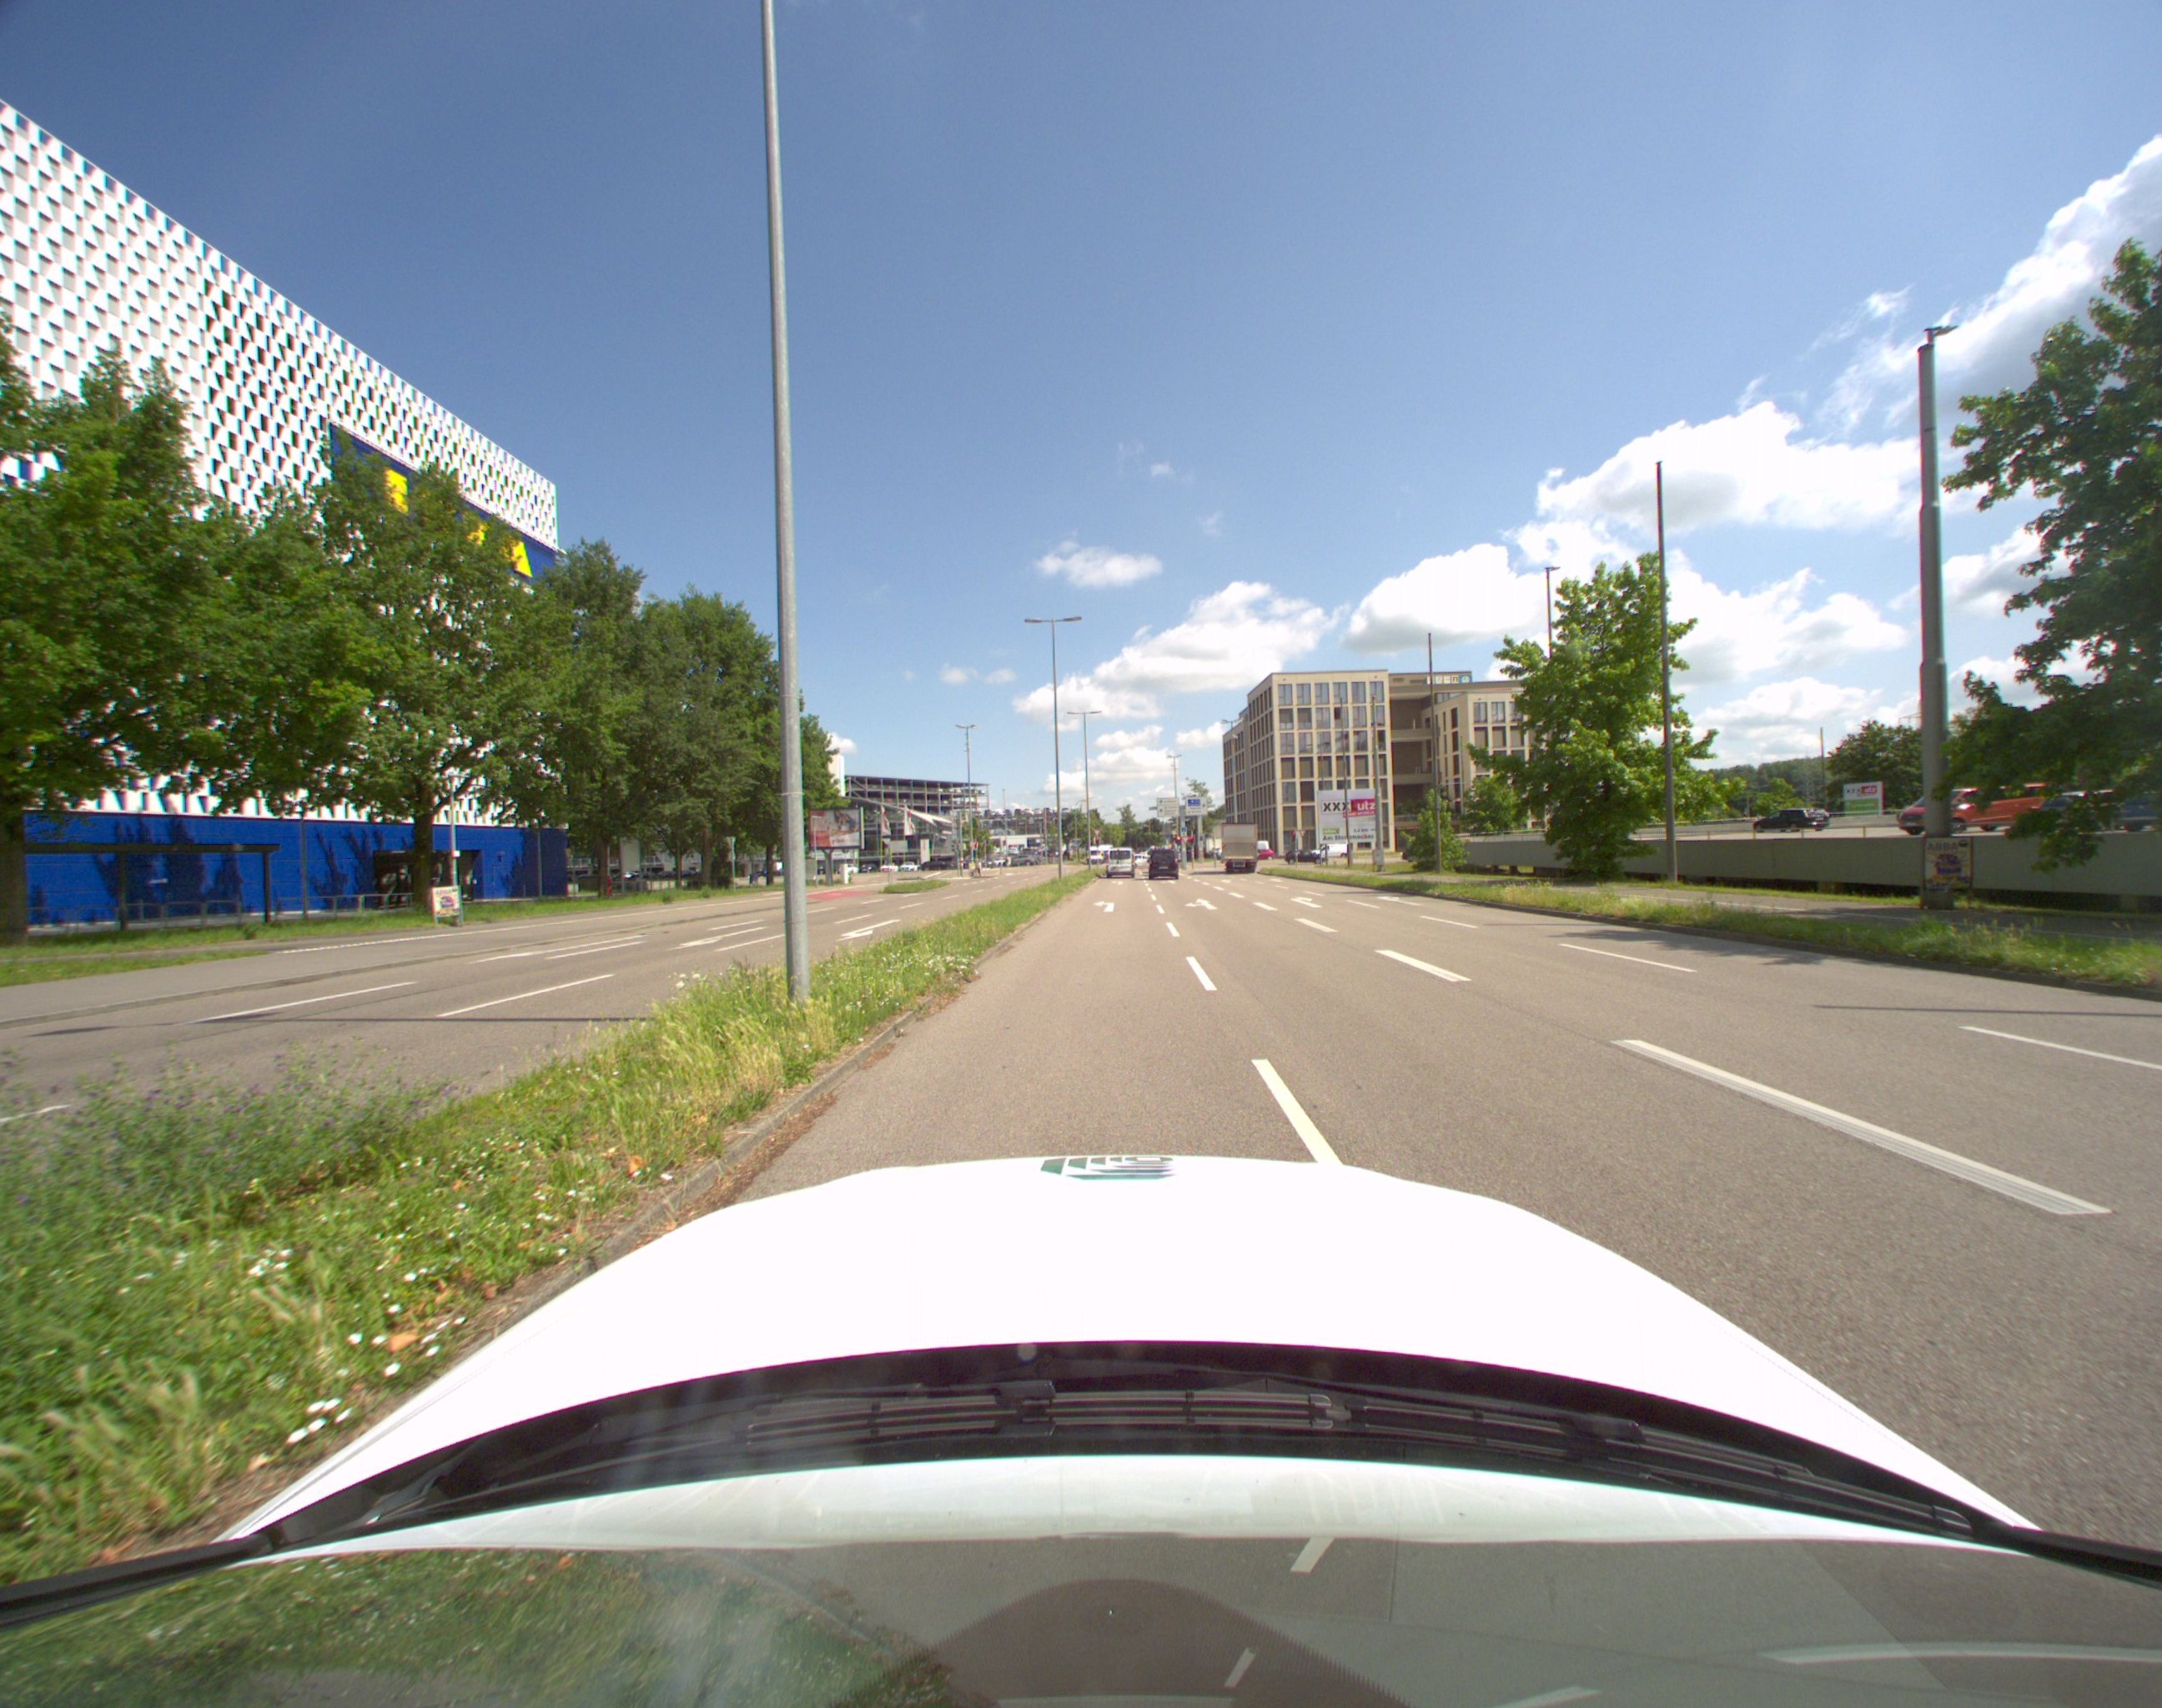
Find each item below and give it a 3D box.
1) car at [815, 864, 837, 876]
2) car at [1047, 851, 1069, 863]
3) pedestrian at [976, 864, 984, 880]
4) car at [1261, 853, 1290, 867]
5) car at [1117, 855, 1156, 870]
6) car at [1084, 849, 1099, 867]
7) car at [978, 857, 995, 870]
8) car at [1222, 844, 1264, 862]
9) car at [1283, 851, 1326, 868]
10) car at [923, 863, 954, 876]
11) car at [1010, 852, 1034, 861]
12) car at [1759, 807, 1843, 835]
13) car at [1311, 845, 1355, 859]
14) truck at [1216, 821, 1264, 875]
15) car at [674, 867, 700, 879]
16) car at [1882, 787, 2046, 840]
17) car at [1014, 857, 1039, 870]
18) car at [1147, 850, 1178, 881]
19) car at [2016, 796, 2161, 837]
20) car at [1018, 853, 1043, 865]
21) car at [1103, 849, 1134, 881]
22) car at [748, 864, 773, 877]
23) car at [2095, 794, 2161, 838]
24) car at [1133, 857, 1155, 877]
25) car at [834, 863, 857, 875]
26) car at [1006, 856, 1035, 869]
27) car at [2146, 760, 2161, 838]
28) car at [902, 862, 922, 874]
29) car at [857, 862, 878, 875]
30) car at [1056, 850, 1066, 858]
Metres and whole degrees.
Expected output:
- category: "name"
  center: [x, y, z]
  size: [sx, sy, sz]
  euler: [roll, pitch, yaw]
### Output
- category: "car"
  center: [-33.887, 2.105, 108.199]
  size: [1.722, 1.486, 3.700]
  euler: [-1, 0, 0]
- category: "car"
  center: [-4.099, 0.555, 144.867]
  size: [3.978, 1.926, 1.824]
  euler: [-1, 0, -3]
- category: "pedestrian"
  center: [-9.263, 1.657, 74.558]
  size: [0.464, 1.512, 0.515]
  euler: [-1, -1, 28]
- category: "car"
  center: [23.332, 0.695, 97.810]
  size: [3.261, 1.405, 1.335]
  euler: [-1, 9, 1]
- category: "car"
  center: [5.707, 0.893, 83.677]
  size: [3.840, 1.466, 1.695]
  euler: [-1, 0, -1]
- category: "car"
  center: [1.503, 0.547, 115.932]
  size: [1.964, 2.256, 4.983]
  euler: [-3, 0, 2]
- category: "car"
  center: [-12.652, 1.260, 108.830]
  size: [1.819, 1.552, 3.981]
  euler: [-1, 0, -13]
- category: "car"
  center: [21.524, -0.187, 108.207]
  size: [5.459, 2.255, 2.007]
  euler: [-1, 0, 12]
- category: "car"
  center: [22.650, 0.565, 82.594]
  size: [4.114, 1.503, 1.633]
  euler: [-3, 0, 14]
- category: "car"
  center: [-18.845, 2.055, 108.093]
  size: [3.782, 1.513, 1.678]
  euler: [-1, 0, -2]
- category: "car"
  center: [-10.435, 0.444, 144.543]
  size: [4.155, 1.713, 1.687]
  euler: [0, 0, -3]
- category: "car"
  center: [46.283, -2.109, 52.448]
  size: [1.864, 1.521, 3.865]
  euler: [-2, -1, -2]
- category: "car"
  center: [31.822, -0.278, 103.047]
  size: [4.966, 1.607, 2.000]
  euler: [-1, 0, 0]
- category: "truck"
  center: [12.562, -0.492, 63.794]
  size: [3.107, 3.940, 8.893]
  euler: [-1, 0, 14]
- category: "car"
  center: [-52.674, 2.507, 108.937]
  size: [1.722, 1.486, 3.700]
  euler: [-1, 0, 0]
- category: "car"
  center: [39.435, -1.794, 36.474]
  size: [5.143, 2.195, 1.987]
  euler: [-1, -1, 0]
- category: "car"
  center: [-8.314, 1.402, 124.195]
  size: [3.497, 1.712, 1.603]
  euler: [-3, 0, -1]
- category: "car"
  center: [5.060, 0.682, 50.110]
  size: [1.810, 1.809, 4.007]
  euler: [-1, 0, 6]
- category: "car"
  center: [40.154, -1.463, 31.881]
  size: [4.852, 1.454, 1.986]
  euler: [-1, -1, -1]
- category: "car"
  center: [-8.163, 0.862, 131.578]
  size: [3.900, 1.712, 1.688]
  euler: [-3, 0, -1]
- category: "car"
  center: [2.582, 0.681, 54.707]
  size: [1.847, 2.018, 4.006]
  euler: [-1, 0, 5]
- category: "car"
  center: [-41.825, 2.177, 106.415]
  size: [1.832, 1.488, 3.699]
  euler: [-1, 0, -2]
- category: "car"
  center: [40.193, -1.412, 29.348]
  size: [4.852, 1.484, 1.986]
  euler: [-1, -1, -1]
- category: "car"
  center: [5.130, 1.023, 66.147]
  size: [1.732, 1.543, 4.004]
  euler: [-1, -1, 4]
- category: "car"
  center: [-31.282, 1.957, 108.189]
  size: [1.873, 1.486, 3.700]
  euler: [-1, 0, 0]
- category: "car"
  center: [-8.409, 1.178, 113.578]
  size: [3.850, 1.639, 1.857]
  euler: [-3, 0, -1]
- category: "car"
  center: [35.779, -1.742, 24.180]
  size: [5.641, 2.366, 2.061]
  euler: [-1, -1, -1]
- category: "car"
  center: [-22.539, 1.863, 108.486]
  size: [1.770, 1.450, 4.029]
  euler: [-1, 0, 0]
- category: "car"
  center: [-28.318, 1.908, 108.126]
  size: [1.751, 1.660, 3.616]
  euler: [-1, 0, -1]
- category: "car"
  center: [-4.090, -0.094, 165.885]
  size: [1.840, 1.530, 3.998]
  euler: [-1, 0, -1]
